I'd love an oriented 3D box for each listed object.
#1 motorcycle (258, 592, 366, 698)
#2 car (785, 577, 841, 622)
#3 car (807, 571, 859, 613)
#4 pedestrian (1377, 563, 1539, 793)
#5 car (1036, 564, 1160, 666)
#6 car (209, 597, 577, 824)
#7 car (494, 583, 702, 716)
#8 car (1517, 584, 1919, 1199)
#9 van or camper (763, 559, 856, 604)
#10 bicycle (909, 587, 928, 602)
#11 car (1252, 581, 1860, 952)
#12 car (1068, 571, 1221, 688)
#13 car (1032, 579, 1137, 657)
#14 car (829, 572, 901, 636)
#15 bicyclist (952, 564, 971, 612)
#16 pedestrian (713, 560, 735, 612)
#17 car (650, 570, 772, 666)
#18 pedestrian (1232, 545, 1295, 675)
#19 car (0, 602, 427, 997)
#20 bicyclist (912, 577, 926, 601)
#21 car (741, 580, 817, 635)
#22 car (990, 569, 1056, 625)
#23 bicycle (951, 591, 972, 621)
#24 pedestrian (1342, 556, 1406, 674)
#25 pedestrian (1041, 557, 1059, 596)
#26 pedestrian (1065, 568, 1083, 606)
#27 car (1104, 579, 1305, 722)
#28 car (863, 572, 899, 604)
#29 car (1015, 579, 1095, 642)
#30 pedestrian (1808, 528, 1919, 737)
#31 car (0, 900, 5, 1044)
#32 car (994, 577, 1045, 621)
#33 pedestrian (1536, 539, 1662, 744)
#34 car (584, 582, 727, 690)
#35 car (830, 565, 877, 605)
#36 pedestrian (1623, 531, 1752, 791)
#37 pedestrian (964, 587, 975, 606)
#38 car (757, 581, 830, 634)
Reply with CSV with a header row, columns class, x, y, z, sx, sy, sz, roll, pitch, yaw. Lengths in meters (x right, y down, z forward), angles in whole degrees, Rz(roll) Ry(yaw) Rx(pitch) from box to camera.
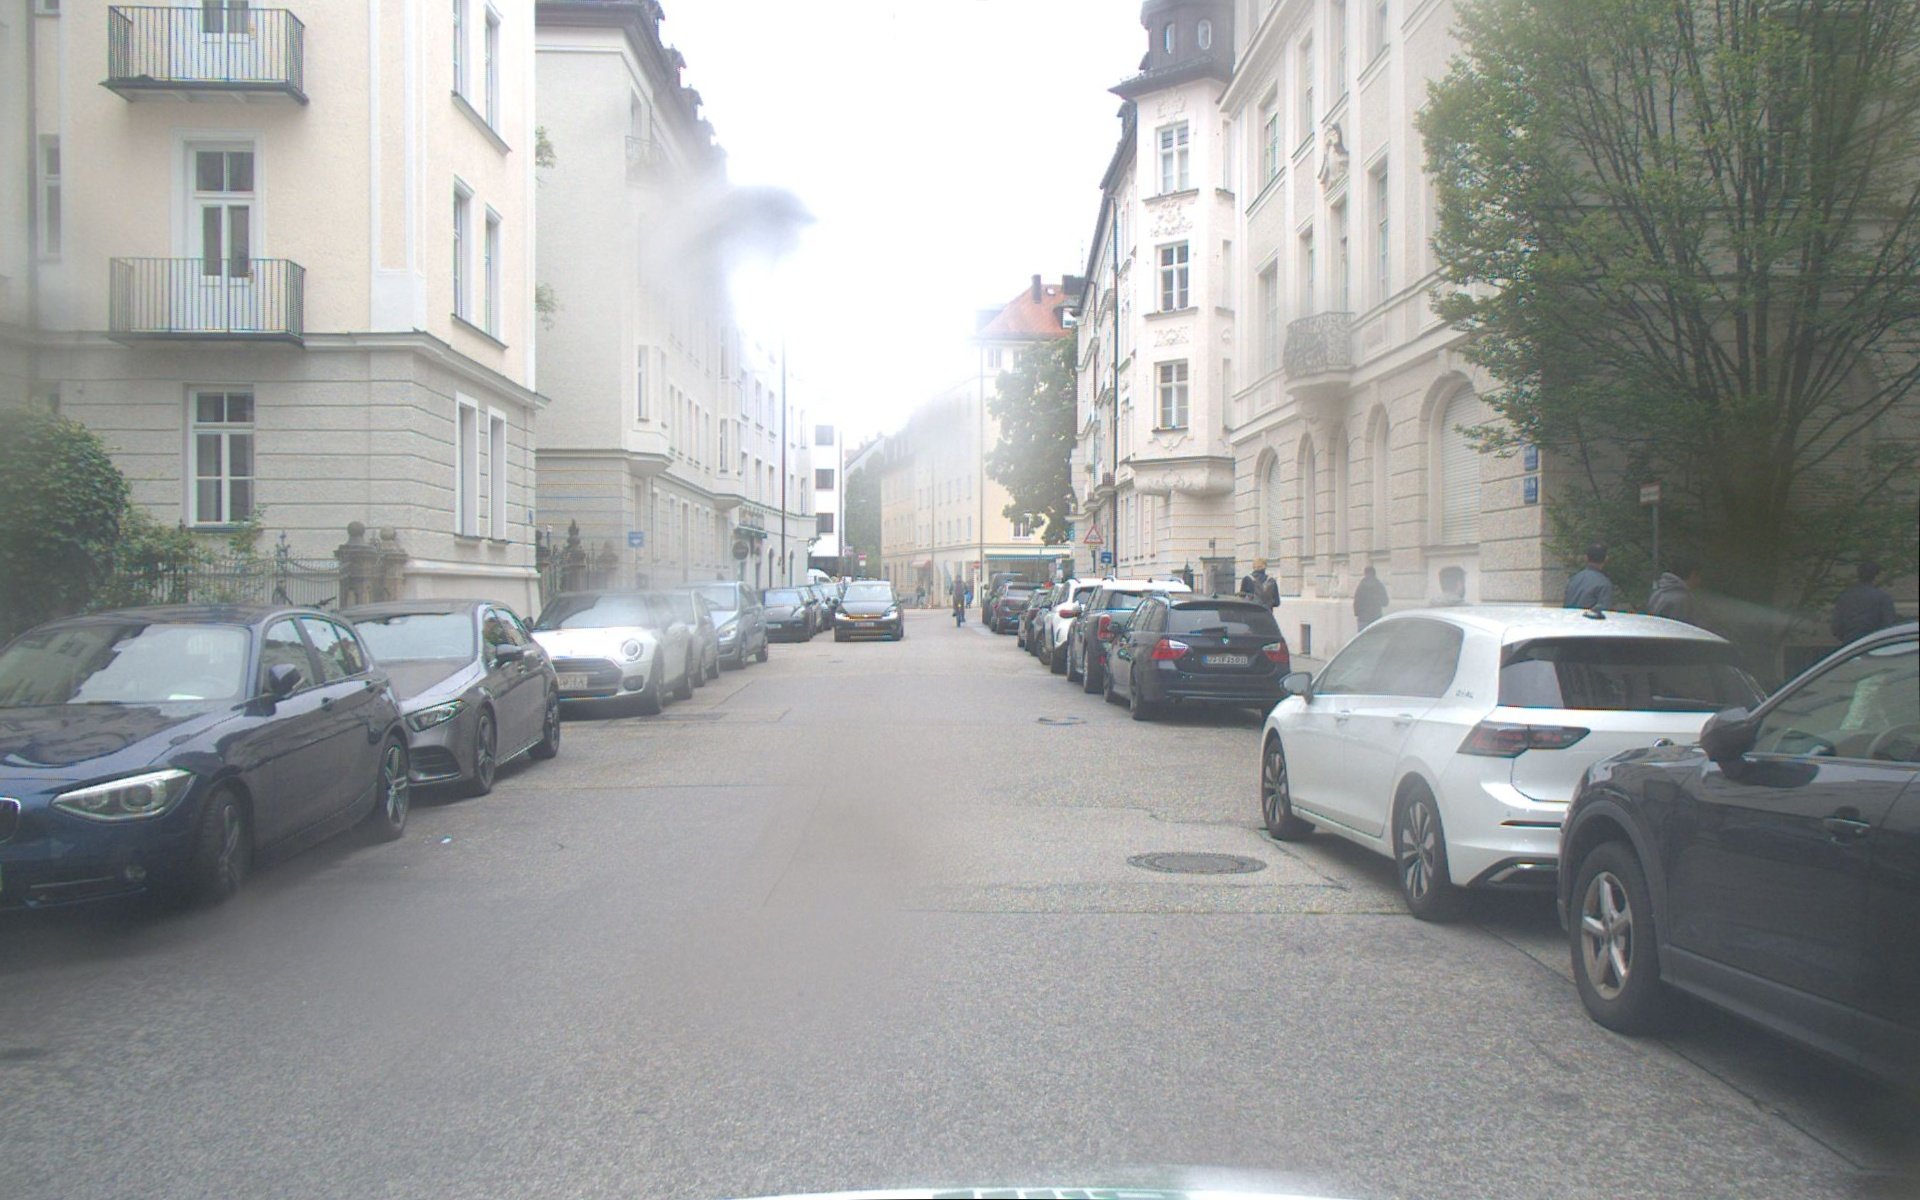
class,x,y,z,sx,sy,sz,roll,pitch,yaw
motorcycle,-8.180,0.549,20.968,0.690,1.271,1.820,1,0,-2
car,-4.921,-0.042,55.621,1.775,1.409,4.439,-2,1,-5
car,-4.738,-0.318,62.159,1.706,1.512,4.180,-1,1,-2
pedestrian,3.815,0.568,12.702,0.841,1.686,0.859,0,0,-29
car,2.414,0.199,29.898,1.857,1.664,4.391,-1,2,0
car,-4.307,0.738,13.265,1.701,1.388,4.190,-2,1,-4
car,-4.356,0.538,20.492,1.760,1.460,4.078,0,0,-2
car,3.259,0.779,4.577,1.756,1.524,4.079,2,1,-5
van or camper,-9.612,-1.173,105.765,5.795,2.724,1.869,-1,-1,-9
bicycle,-2.924,-0.372,116.173,0.833,1.019,2.161,0,1,-15
car,2.865,0.668,8.957,1.630,1.534,4.062,0,1,-3
car,2.604,0.362,24.190,1.713,1.551,4.169,0,1,-1
car,2.554,0.340,34.768,1.674,1.527,3.997,0,0,-4
car,-2.506,0.090,44.502,1.689,1.560,4.085,-3,1,-1
bicyclist,0.044,-0.431,57.316,0.593,1.634,0.758,-1,1,3
pedestrian,-8.036,-0.477,56.419,0.684,1.736,0.665,0,0,-4
car,-4.646,0.286,31.355,1.662,1.608,4.061,-3,1,-1
pedestrian,4.381,0.132,23.924,0.668,1.806,0.855,-3,1,0
car,-4.032,0.747,8.148,1.733,1.445,3.997,0,0,-4
bicyclist,-2.888,-0.750,116.018,0.768,1.666,0.972,0,1,-15
car,-4.878,0.167,45.076,1.813,1.390,4.699,0,1,-3
car,1.897,-0.125,50.985,1.673,1.615,3.998,1,1,-3
bicycle,0.046,0.201,57.262,0.626,1.022,1.575,-1,0,3
pedestrian,6.183,0.215,24.739,0.668,1.708,0.812,-3,1,-2
pedestrian,4.068,-1.055,74.770,0.689,1.758,0.703,-2,1,-4
pedestrian,5.170,-0.595,75.191,0.666,1.703,0.654,-3,1,-4
car,2.784,0.513,19.710,1.676,1.477,4.224,0,1,-1
car,-4.272,-0.652,89.775,1.642,1.624,3.945,-3,0,1
car,2.240,0.207,39.855,1.580,1.419,3.999,1,1,-2
pedestrian,8.302,0.280,15.015,0.842,1.849,0.678,0,1,-2
car,-4.094,0.734,3.357,1.770,1.677,4.484,-2,1,-2
car,2.012,-0.061,56.761,1.629,1.420,3.582,1,0,1
pedestrian,5.744,0.359,14.900,0.864,1.800,0.672,0,1,-2
car,-4.562,0.485,25.276,1.612,1.427,3.997,-3,1,-4
car,-4.913,-0.704,76.660,1.805,1.788,4.001,-1,1,2
pedestrian,5.184,0.417,11.819,0.615,1.800,0.672,0,1,-2
pedestrian,0.676,-0.217,112.817,0.684,1.292,0.651,-1,0,3
car,-5.018,0.211,50.348,1.758,1.444,4.510,-3,0,-1
